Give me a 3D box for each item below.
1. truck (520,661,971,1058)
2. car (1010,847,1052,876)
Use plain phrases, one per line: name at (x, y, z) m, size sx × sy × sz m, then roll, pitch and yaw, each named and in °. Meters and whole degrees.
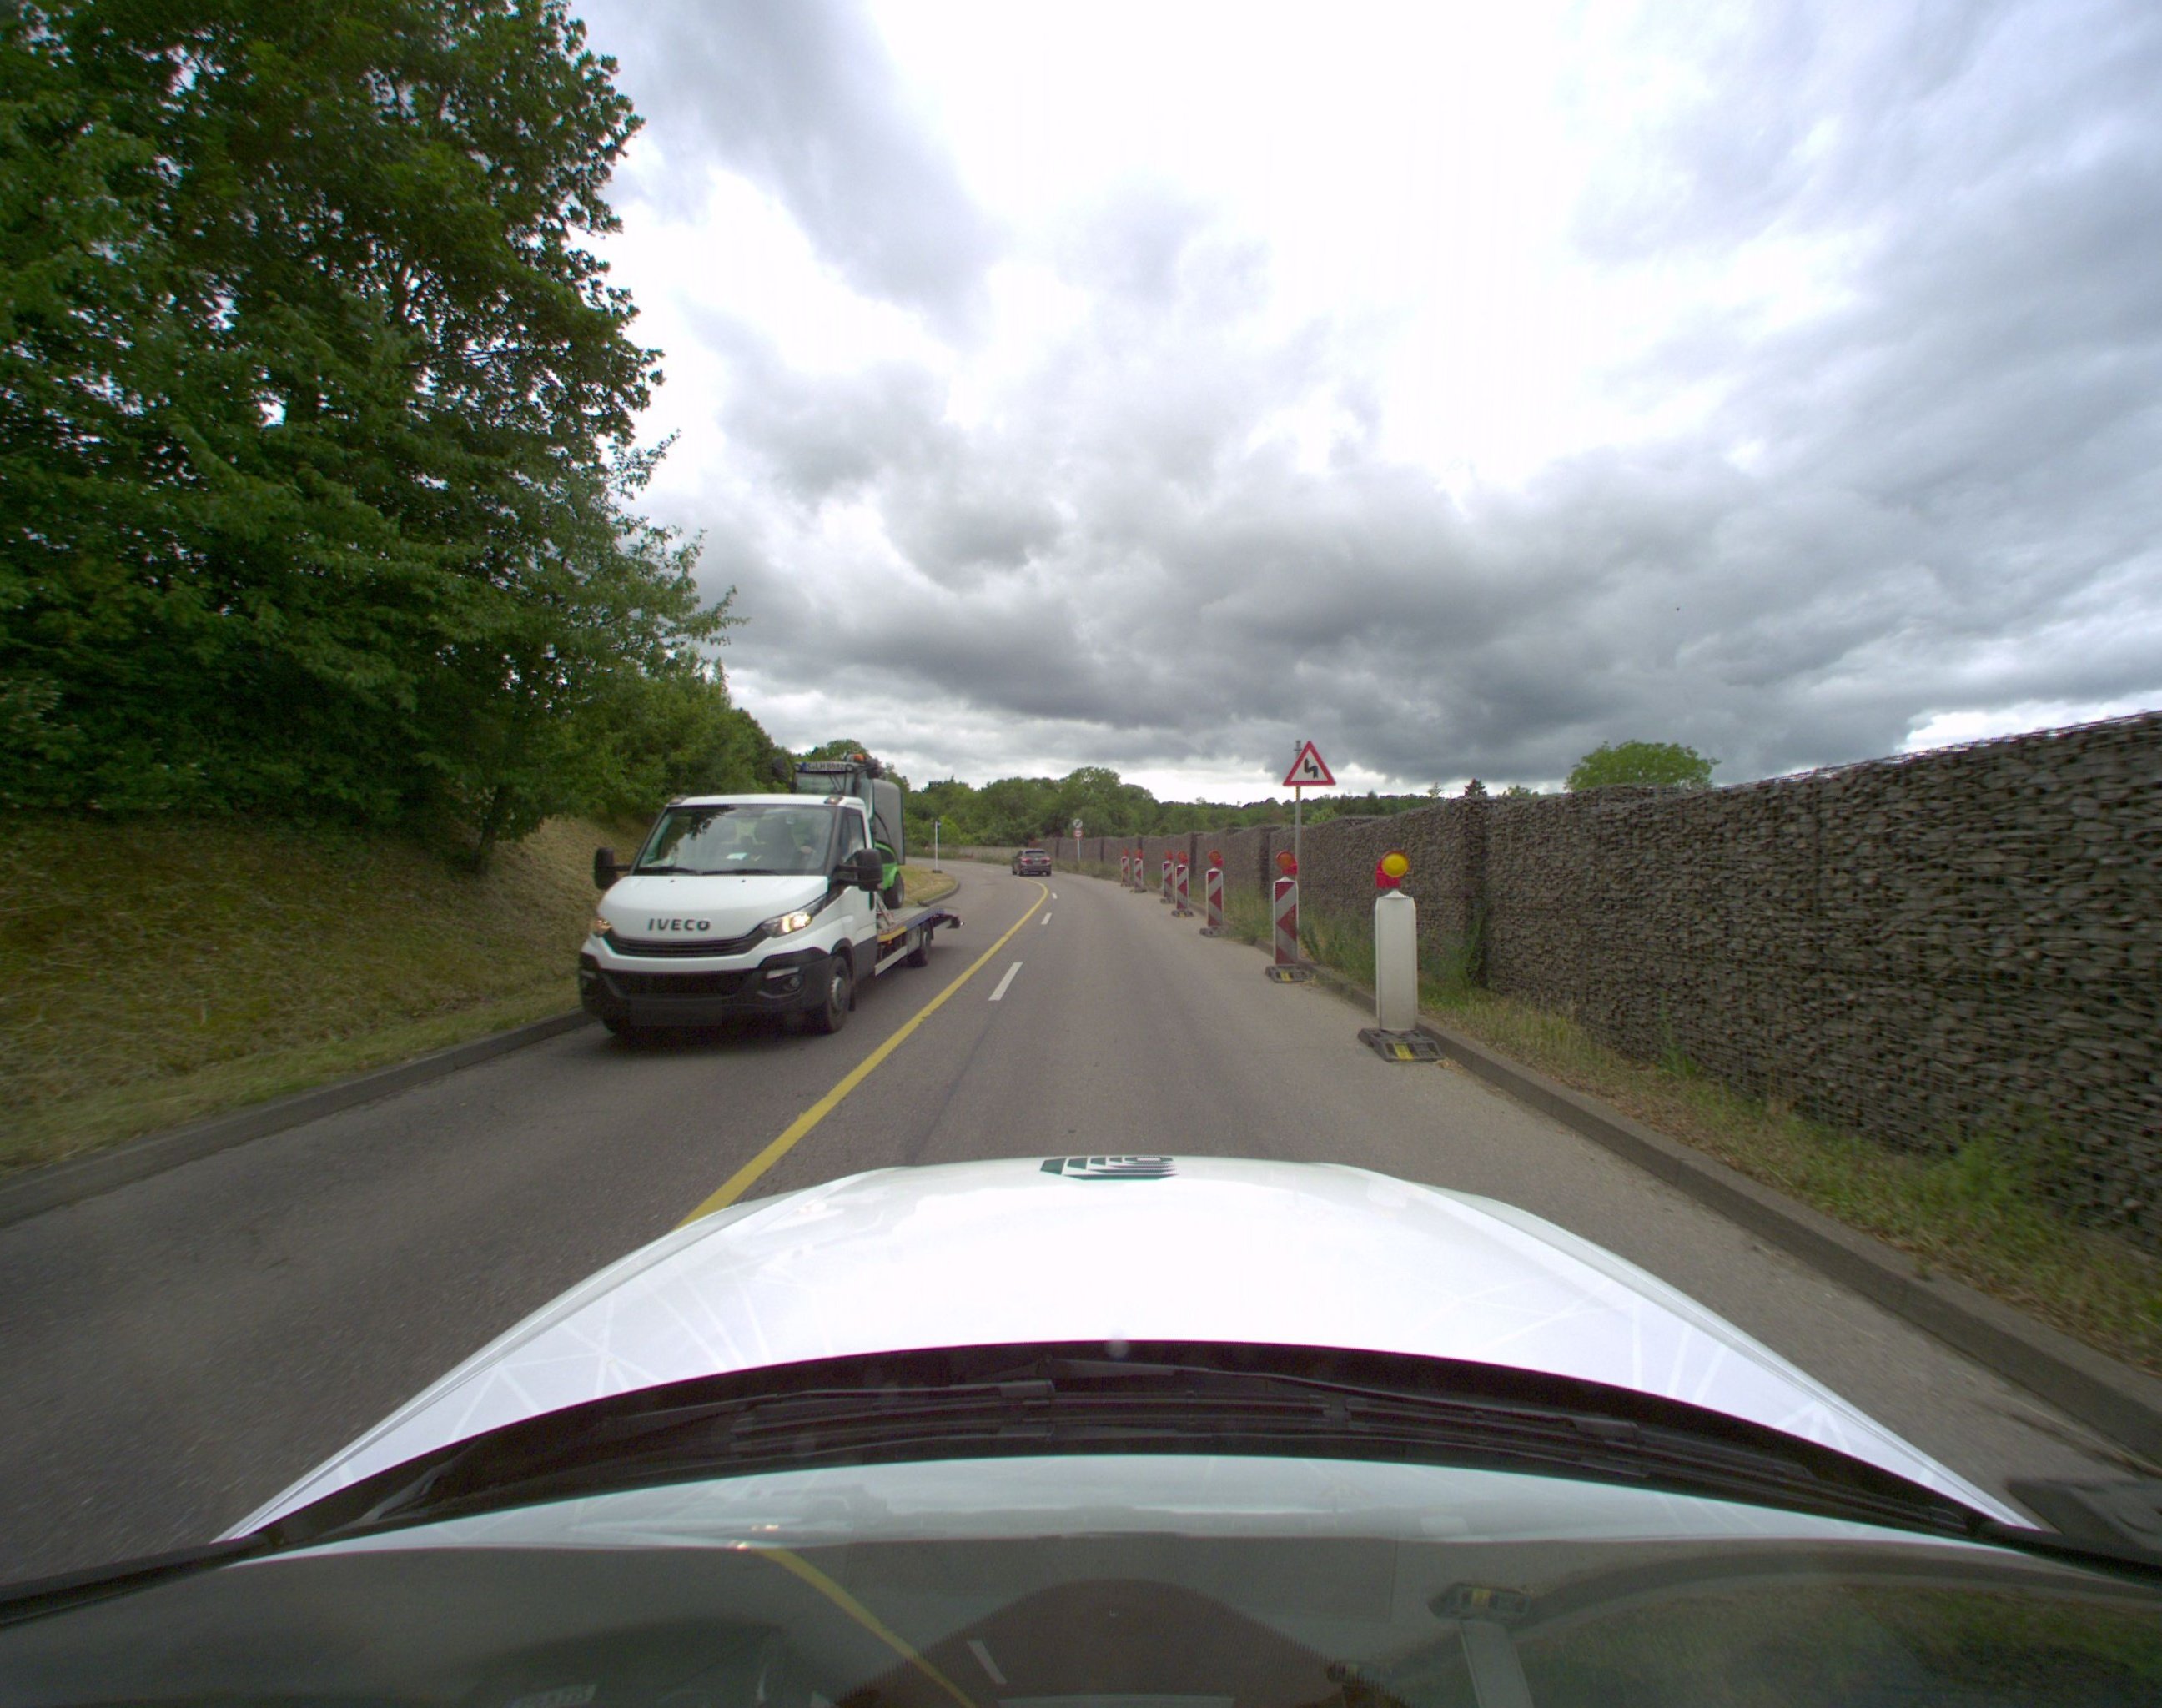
truck at (-3.099, 0.028, 10.121) m, size 2.207 × 3.014 × 7.741 m, roll -1°, pitch 0°, yaw 1°
car at (-2.889, 0.415, 46.216) m, size 1.841 × 1.483 × 3.984 m, roll -1°, pitch 1°, yaw -12°
